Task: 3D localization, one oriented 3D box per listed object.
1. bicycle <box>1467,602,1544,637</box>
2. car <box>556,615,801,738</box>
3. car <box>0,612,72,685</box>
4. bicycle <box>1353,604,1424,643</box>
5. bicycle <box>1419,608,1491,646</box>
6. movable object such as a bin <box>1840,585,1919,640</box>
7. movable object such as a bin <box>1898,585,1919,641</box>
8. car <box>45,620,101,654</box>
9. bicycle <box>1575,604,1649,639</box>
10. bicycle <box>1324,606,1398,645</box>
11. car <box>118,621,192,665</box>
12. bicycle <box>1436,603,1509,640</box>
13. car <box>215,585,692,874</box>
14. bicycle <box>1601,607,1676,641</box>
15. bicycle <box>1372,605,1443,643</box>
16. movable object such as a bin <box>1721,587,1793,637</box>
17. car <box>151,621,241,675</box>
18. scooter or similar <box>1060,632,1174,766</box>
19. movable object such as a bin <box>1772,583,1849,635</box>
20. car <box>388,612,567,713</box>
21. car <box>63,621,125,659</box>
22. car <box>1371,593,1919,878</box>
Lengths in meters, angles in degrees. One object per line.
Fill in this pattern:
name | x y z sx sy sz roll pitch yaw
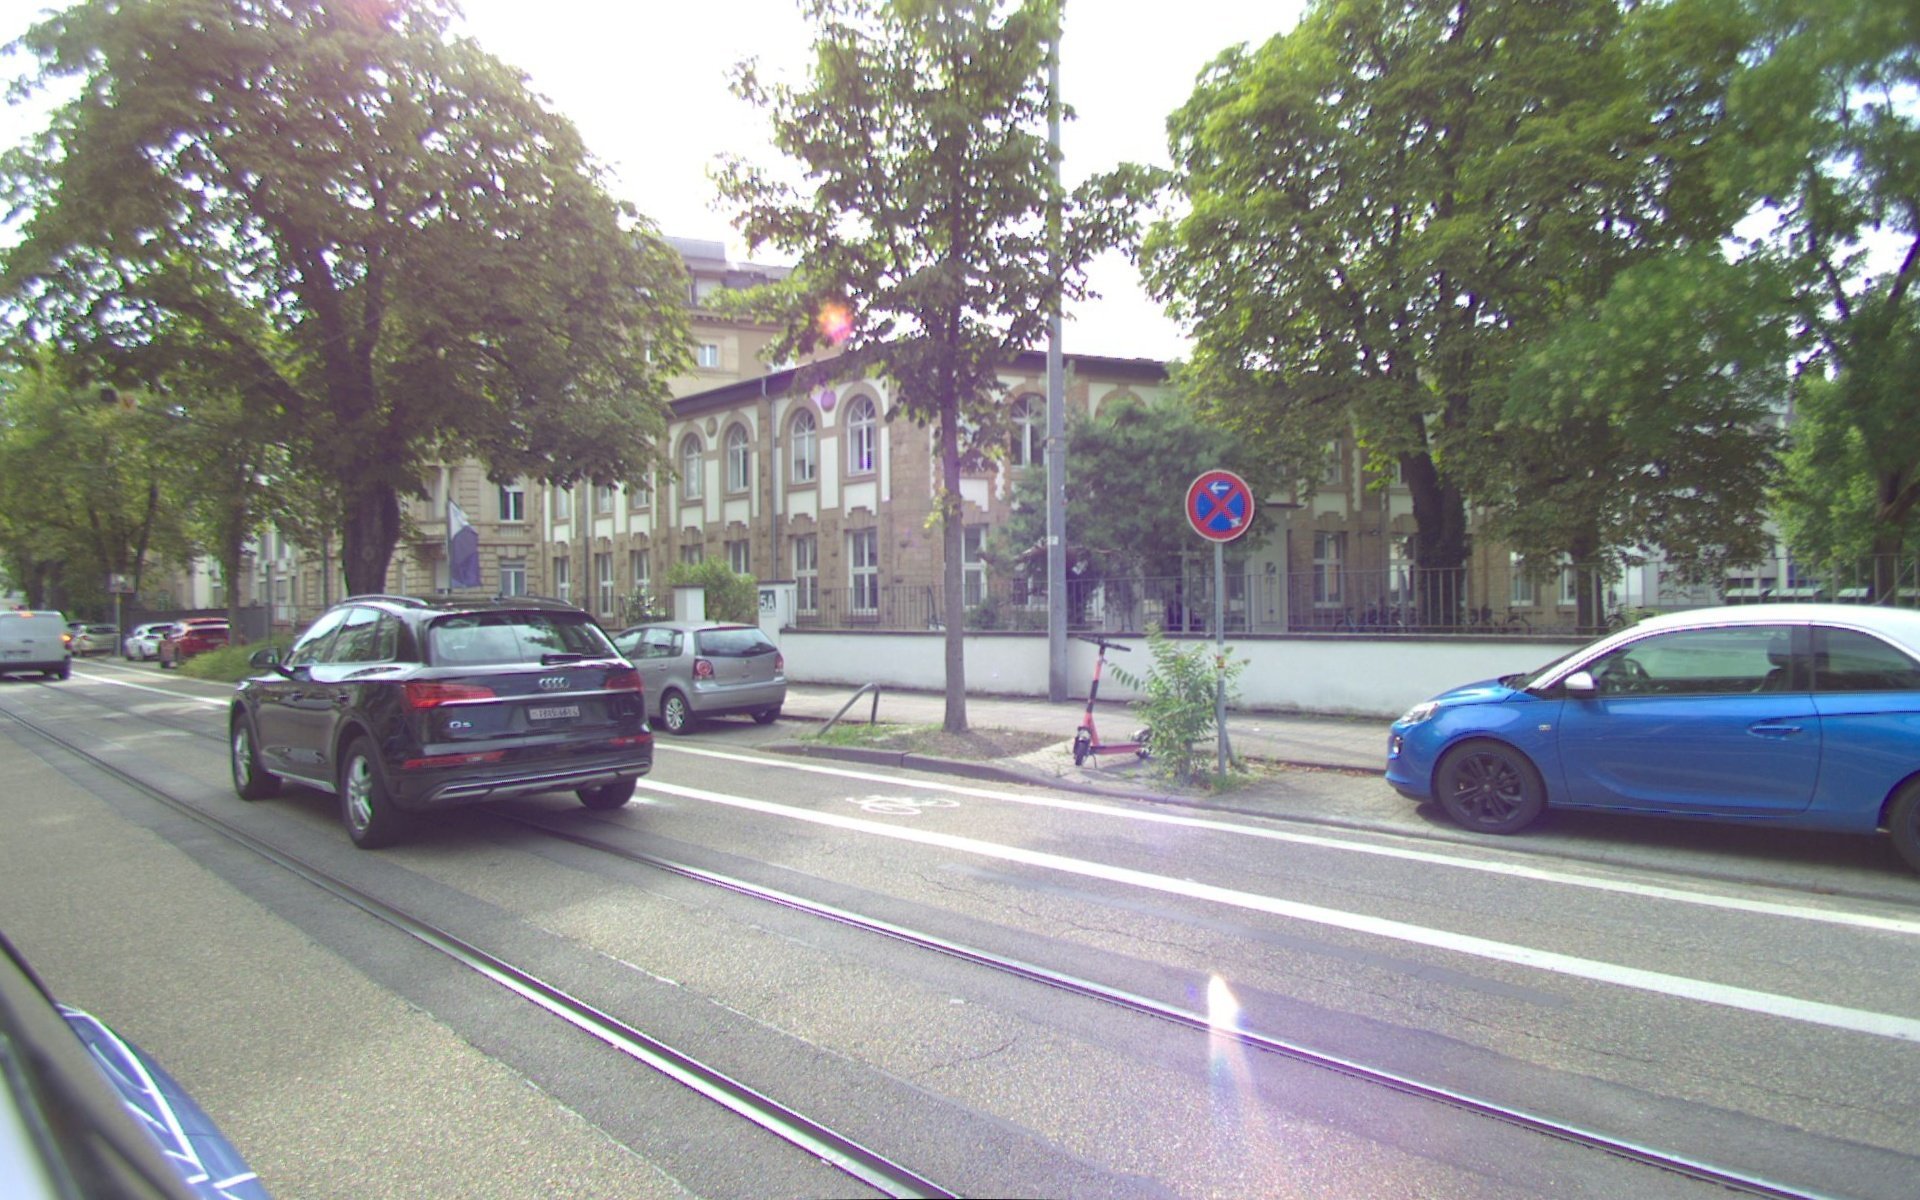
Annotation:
bicycle | 16.689 0.600 30.971 1.978 1.051 0.586 -1 0 44
car | -4.020 0.988 14.204 3.572 1.476 1.611 -2 -1 41
car | -25.957 1.303 27.783 4.676 1.837 1.776 -2 -1 41
bicycle | 12.179 0.660 28.842 0.584 1.051 1.984 -1 0 -23
bicycle | 14.476 0.774 29.667 0.584 1.051 1.984 -1 0 -23
movable object such as a bin | 25.006 0.337 27.471 1.103 1.441 1.288 0 0 -21
movable object such as a bin | 25.385 0.332 26.151 1.103 1.441 1.288 0 0 -21
car | -45.424 1.887 51.813 3.904 1.646 1.637 -2 -1 41
bicycle | 20.618 0.658 32.047 0.584 1.051 1.984 -1 0 -23
bicycle | 11.302 0.715 28.605 0.584 1.051 1.984 -1 0 -30
car | -31.936 1.672 40.132 3.904 1.613 1.637 -2 -1 41
bicycle | 15.169 0.618 30.006 0.584 1.051 1.984 -1 0 -23
car | -4.104 0.767 7.841 4.332 1.624 1.828 -2 -1 42
bicycle | 21.838 0.767 32.599 0.584 1.051 1.984 -1 0 -23
bicycle | 12.876 0.683 29.175 0.584 1.051 1.984 -1 0 -23
movable object such as a bin | 23.784 0.352 30.227 1.103 1.441 1.288 0 0 -21
car | -25.679 1.576 33.969 3.904 1.646 1.637 -2 -1 41
scooter or similar | 1.475 0.900 9.502 0.987 1.176 0.370 -1 -1 -24
movable object such as a bin | 24.296 0.255 28.931 1.103 1.441 1.288 0 0 -21
car | -8.924 1.072 18.603 3.723 1.646 1.637 -2 -1 41
car | -40.075 1.818 46.820 3.904 1.646 1.637 -2 -1 41
car | 4.777 0.724 6.536 3.600 1.476 1.611 -2 -1 41
